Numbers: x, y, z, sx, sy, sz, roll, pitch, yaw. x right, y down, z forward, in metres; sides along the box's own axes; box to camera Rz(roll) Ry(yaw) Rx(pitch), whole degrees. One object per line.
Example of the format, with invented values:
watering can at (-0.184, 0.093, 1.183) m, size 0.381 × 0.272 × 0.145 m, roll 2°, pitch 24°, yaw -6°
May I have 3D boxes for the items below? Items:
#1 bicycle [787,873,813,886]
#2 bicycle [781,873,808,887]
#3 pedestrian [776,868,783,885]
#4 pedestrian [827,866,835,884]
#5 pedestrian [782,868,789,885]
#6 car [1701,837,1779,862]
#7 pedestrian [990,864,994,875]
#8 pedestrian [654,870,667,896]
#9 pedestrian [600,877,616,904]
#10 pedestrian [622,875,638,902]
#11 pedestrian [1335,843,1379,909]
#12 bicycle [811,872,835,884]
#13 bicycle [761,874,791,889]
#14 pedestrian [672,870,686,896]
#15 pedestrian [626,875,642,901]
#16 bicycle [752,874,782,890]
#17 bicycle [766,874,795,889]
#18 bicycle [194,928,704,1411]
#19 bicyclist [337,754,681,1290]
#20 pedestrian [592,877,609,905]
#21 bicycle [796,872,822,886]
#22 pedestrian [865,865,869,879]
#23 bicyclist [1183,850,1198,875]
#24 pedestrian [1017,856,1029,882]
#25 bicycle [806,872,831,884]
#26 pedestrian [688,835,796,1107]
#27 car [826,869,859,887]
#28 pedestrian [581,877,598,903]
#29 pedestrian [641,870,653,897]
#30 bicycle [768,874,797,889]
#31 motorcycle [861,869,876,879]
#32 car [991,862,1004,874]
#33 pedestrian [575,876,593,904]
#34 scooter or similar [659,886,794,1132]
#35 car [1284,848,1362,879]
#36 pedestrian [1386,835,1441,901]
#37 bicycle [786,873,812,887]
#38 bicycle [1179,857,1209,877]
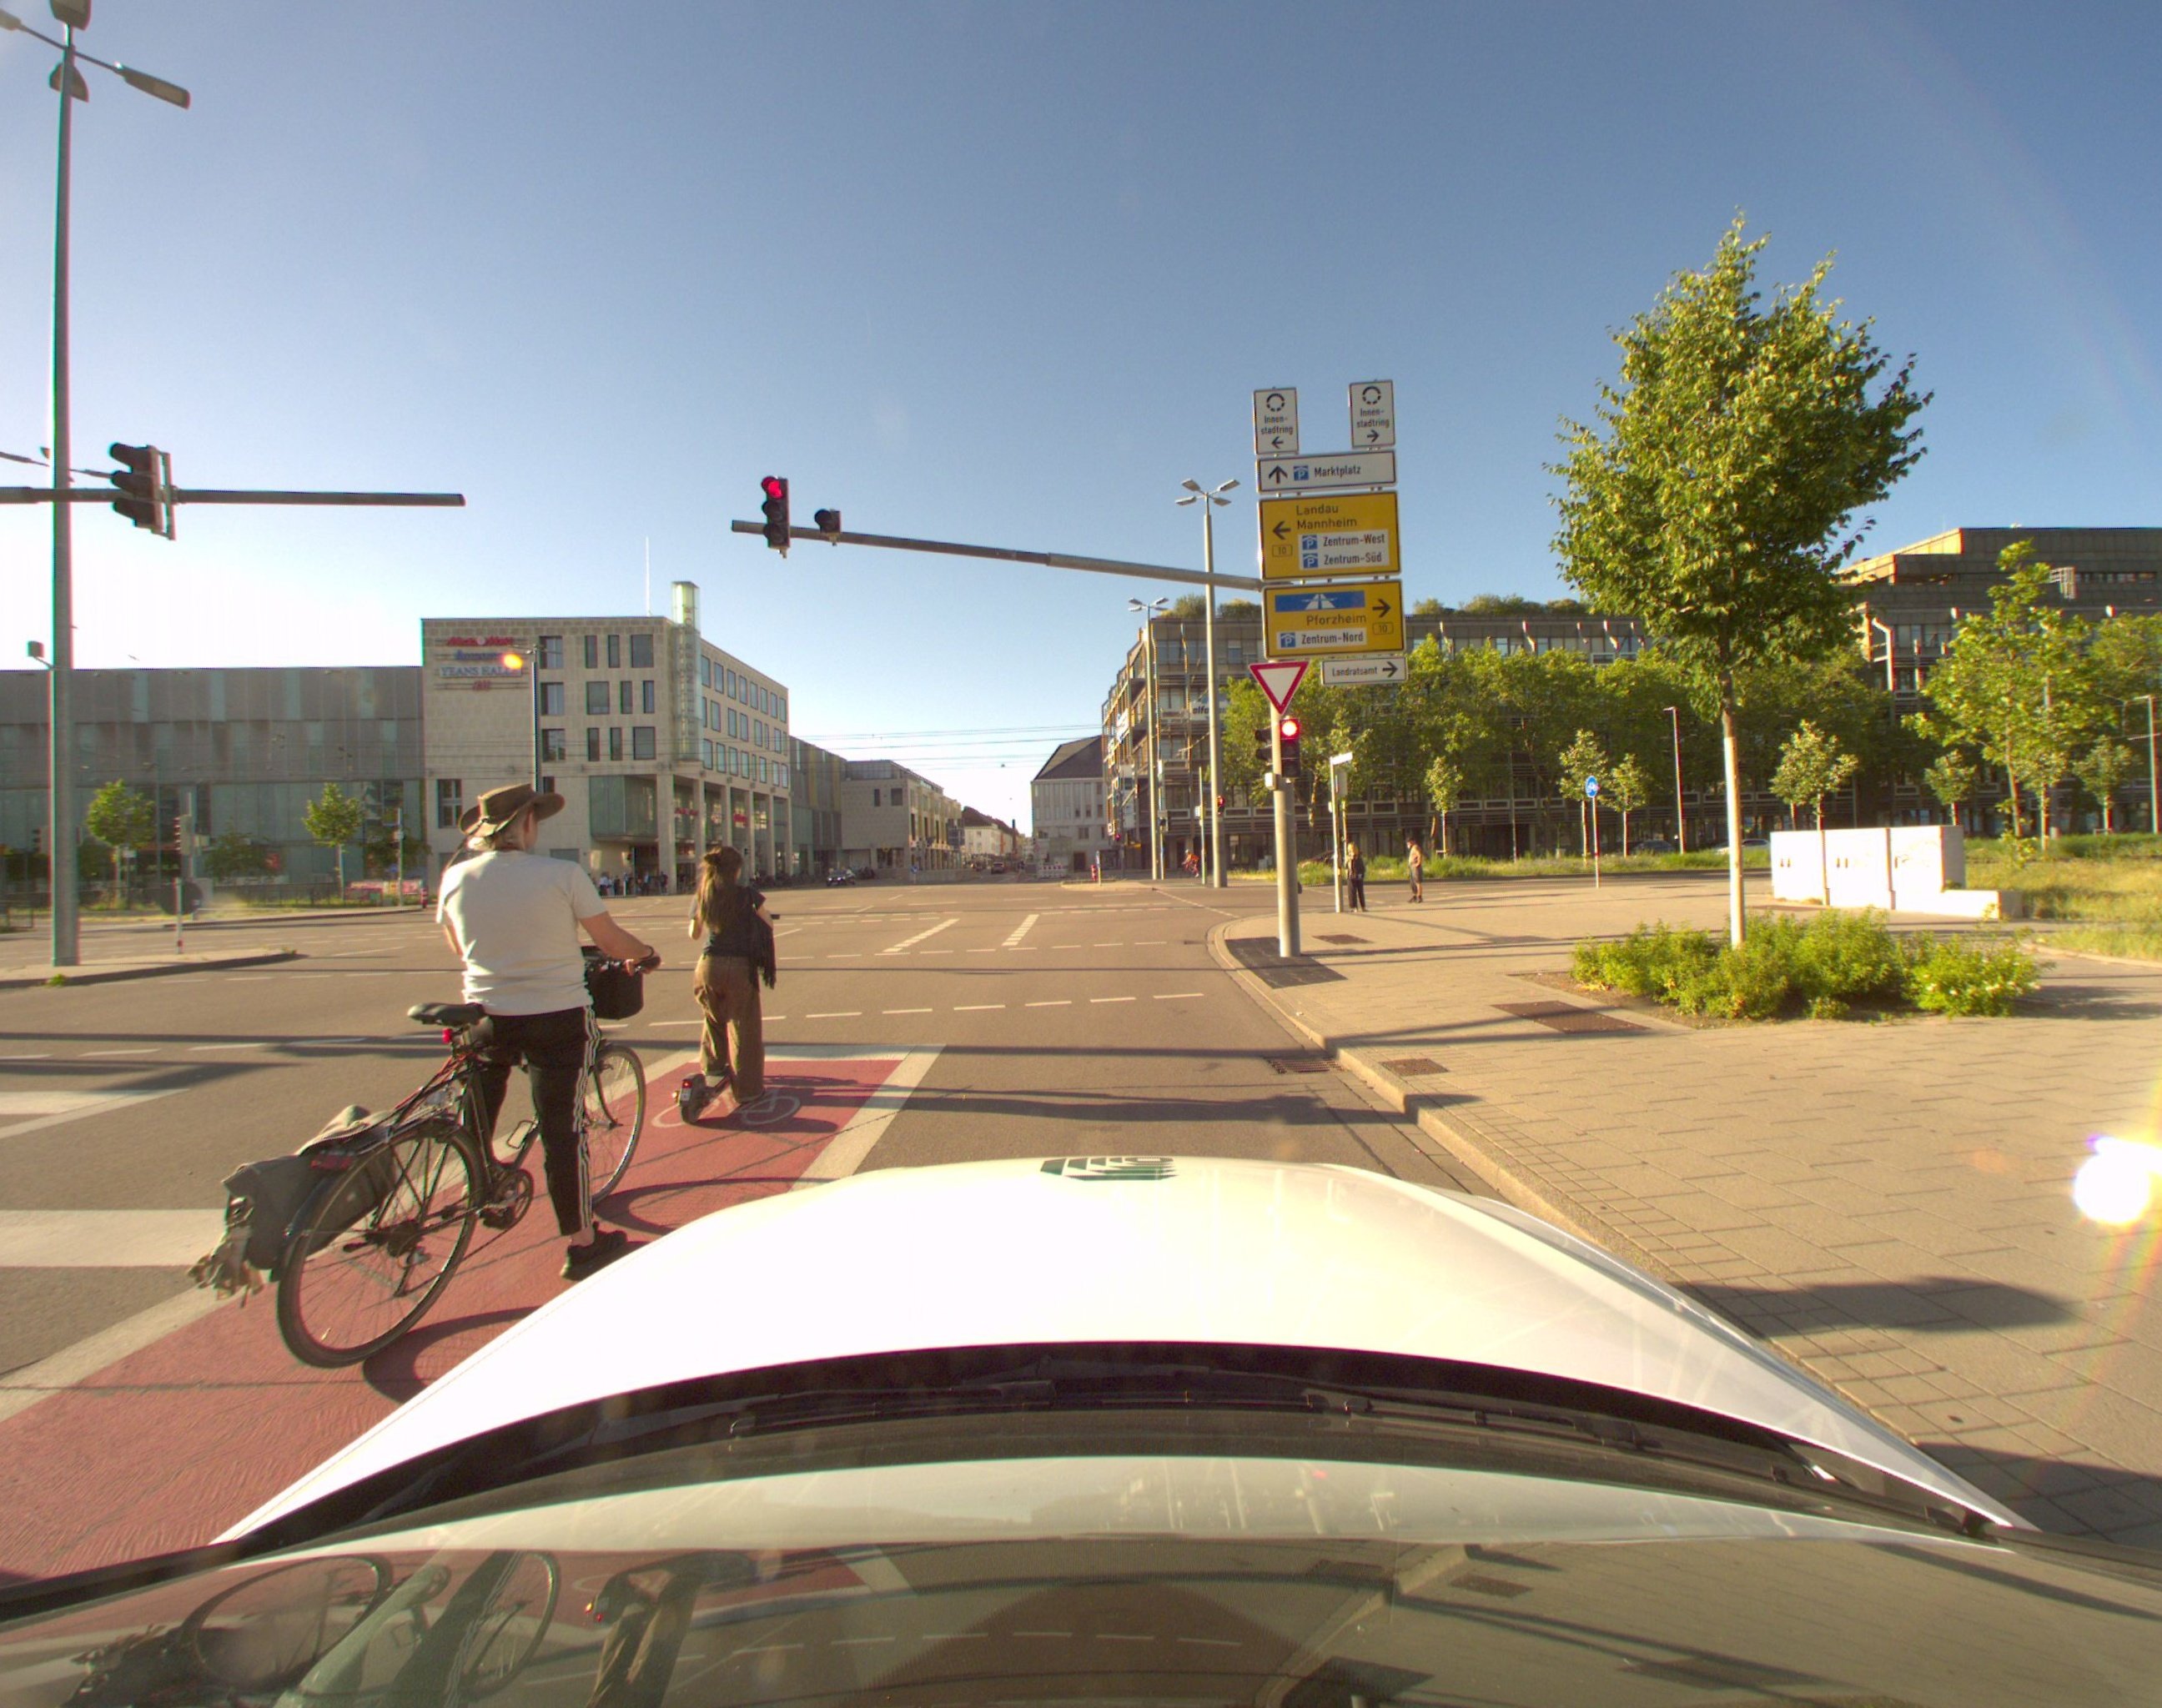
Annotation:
bicycle at (-27.627, 2.495, 80.125) m, size 2.299 × 1.222 × 0.612 m, roll -2°, pitch -1°, yaw -1°
bicycle at (-26.694, 2.454, 75.962) m, size 2.299 × 1.222 × 0.612 m, roll -2°, pitch -1°, yaw -1°
pedestrian at (-29.894, 2.216, 80.751) m, size 0.570 × 1.679 × 0.614 m, roll 0°, pitch 0°, yaw -8°
pedestrian at (-24.701, 2.058, 80.445) m, size 0.650 × 1.719 × 0.447 m, roll -2°, pitch 0°, yaw -22°
pedestrian at (-29.312, 2.190, 80.832) m, size 0.553 × 1.679 × 0.606 m, roll 0°, pitch 0°, yaw -8°
car at (42.887, -0.287, 53.018) m, size 3.892 × 1.585 × 1.656 m, roll 0°, pitch -1°, yaw -5°
pedestrian at (-12.823, 2.231, 117.571) m, size 0.520 × 1.679 × 0.582 m, roll 0°, pitch 0°, yaw -5°
pedestrian at (-30.790, 2.111, 59.664) m, size 0.800 × 1.843 × 0.856 m, roll -2°, pitch 0°, yaw -26°
pedestrian at (-33.968, 2.616, 58.469) m, size 0.714 × 1.885 × 0.786 m, roll 0°, pitch -1°, yaw -6°
pedestrian at (-31.944, 2.444, 57.690) m, size 0.783 × 1.885 × 0.716 m, roll 0°, pitch -1°, yaw -4°
pedestrian at (6.311, 0.498, 18.653) m, size 0.785 × 1.492 × 0.644 m, roll 0°, pitch -1°, yaw 1°
bicycle at (-27.421, 2.547, 86.645) m, size 2.299 × 1.222 × 0.612 m, roll -2°, pitch -1°, yaw -1°
bicycle at (-26.460, 2.409, 70.650) m, size 2.299 × 1.222 × 0.612 m, roll -2°, pitch -1°, yaw -1°
pedestrian at (-29.104, 2.059, 58.938) m, size 0.801 × 1.843 × 0.855 m, roll -2°, pitch 0°, yaw -30°
pedestrian at (-32.510, 2.461, 59.242) m, size 0.783 × 1.885 × 0.716 m, roll 0°, pitch -1°, yaw -4°
bicycle at (-26.731, 2.400, 69.373) m, size 2.299 × 1.222 × 0.612 m, roll -2°, pitch -1°, yaw -1°
bicycle at (-26.563, 2.421, 72.010) m, size 2.299 × 1.222 × 0.612 m, roll -2°, pitch -1°, yaw -1°
bicycle at (-2.147, 0.942, 3.136) m, size 0.483 × 1.156 × 1.832 m, roll 0°, pitch -1°, yaw 2°
bicyclist at (-2.054, 0.542, 3.059) m, size 0.658 × 1.720 × 0.866 m, roll 0°, pitch -1°, yaw 1°
pedestrian at (-33.866, 2.606, 57.371) m, size 0.783 × 1.885 × 0.716 m, roll 0°, pitch -1°, yaw -4°
bicycle at (-27.183, 2.502, 81.341) m, size 2.299 × 1.222 × 0.612 m, roll -2°, pitch -1°, yaw -1°
pedestrian at (-26.099, 2.182, 99.354) m, size 0.521 × 1.679 × 0.580 m, roll 0°, pitch 0°, yaw -12°
bicyclist at (6.281, 0.491, 46.655) m, size 0.710 × 1.437 × 0.496 m, roll 0°, pitch -1°, yaw -7°
pedestrian at (-4.341, 1.121, 61.291) m, size 0.637 × 1.890 × 0.794 m, roll -1°, pitch -1°, yaw 16°
bicycle at (-27.585, 2.540, 85.580) m, size 2.299 × 1.222 × 0.612 m, roll -2°, pitch -1°, yaw -1°
pedestrian at (-2.161, 0.704, 5.241) m, size 0.549 × 1.633 × 0.569 m, roll 0°, pitch -1°, yaw -13°
car at (-20.622, 2.044, 70.506) m, size 1.625 × 1.342 × 3.999 m, roll -4°, pitch -1°, yaw 0°
pedestrian at (-35.208, 2.577, 58.323) m, size 0.783 × 1.885 × 0.716 m, roll 0°, pitch -1°, yaw -4°
pedestrian at (-31.000, 2.084, 58.214) m, size 0.718 × 1.885 × 0.781 m, roll 0°, pitch -1°, yaw -25°
bicycle at (-26.738, 2.429, 72.894) m, size 2.299 × 1.222 × 0.612 m, roll -2°, pitch -1°, yaw -1°
motorcycle at (-25.779, 2.422, 98.737) m, size 1.807 × 1.206 × 0.509 m, roll 0°, pitch 0°, yaw -14°
car at (-11.135, 1.849, 108.653) m, size 1.735 × 1.531 × 3.848 m, roll 0°, pitch -1°, yaw -5°
pedestrian at (-36.287, 2.600, 59.420) m, size 0.883 × 2.014 × 0.771 m, roll 0°, pitch -1°, yaw -9°
scooter or similar at (-2.155, 0.869, 5.073) m, size 0.547 × 1.294 × 1.188 m, roll 0°, pitch -1°, yaw -13°
car at (13.613, 0.506, 45.943) m, size 3.880 × 1.585 × 1.656 m, roll -2°, pitch -1°, yaw -6°
pedestrian at (8.576, 0.362, 21.040) m, size 0.881 × 1.665 × 0.958 m, roll 0°, pitch -1°, yaw -19°
bicycle at (-27.061, 2.474, 78.130) m, size 2.299 × 1.222 × 0.612 m, roll -2°, pitch -1°, yaw -1°
bicycle at (6.481, 0.738, 46.682) m, size 1.643 × 1.154 × 0.496 m, roll 0°, pitch -1°, yaw -8°
